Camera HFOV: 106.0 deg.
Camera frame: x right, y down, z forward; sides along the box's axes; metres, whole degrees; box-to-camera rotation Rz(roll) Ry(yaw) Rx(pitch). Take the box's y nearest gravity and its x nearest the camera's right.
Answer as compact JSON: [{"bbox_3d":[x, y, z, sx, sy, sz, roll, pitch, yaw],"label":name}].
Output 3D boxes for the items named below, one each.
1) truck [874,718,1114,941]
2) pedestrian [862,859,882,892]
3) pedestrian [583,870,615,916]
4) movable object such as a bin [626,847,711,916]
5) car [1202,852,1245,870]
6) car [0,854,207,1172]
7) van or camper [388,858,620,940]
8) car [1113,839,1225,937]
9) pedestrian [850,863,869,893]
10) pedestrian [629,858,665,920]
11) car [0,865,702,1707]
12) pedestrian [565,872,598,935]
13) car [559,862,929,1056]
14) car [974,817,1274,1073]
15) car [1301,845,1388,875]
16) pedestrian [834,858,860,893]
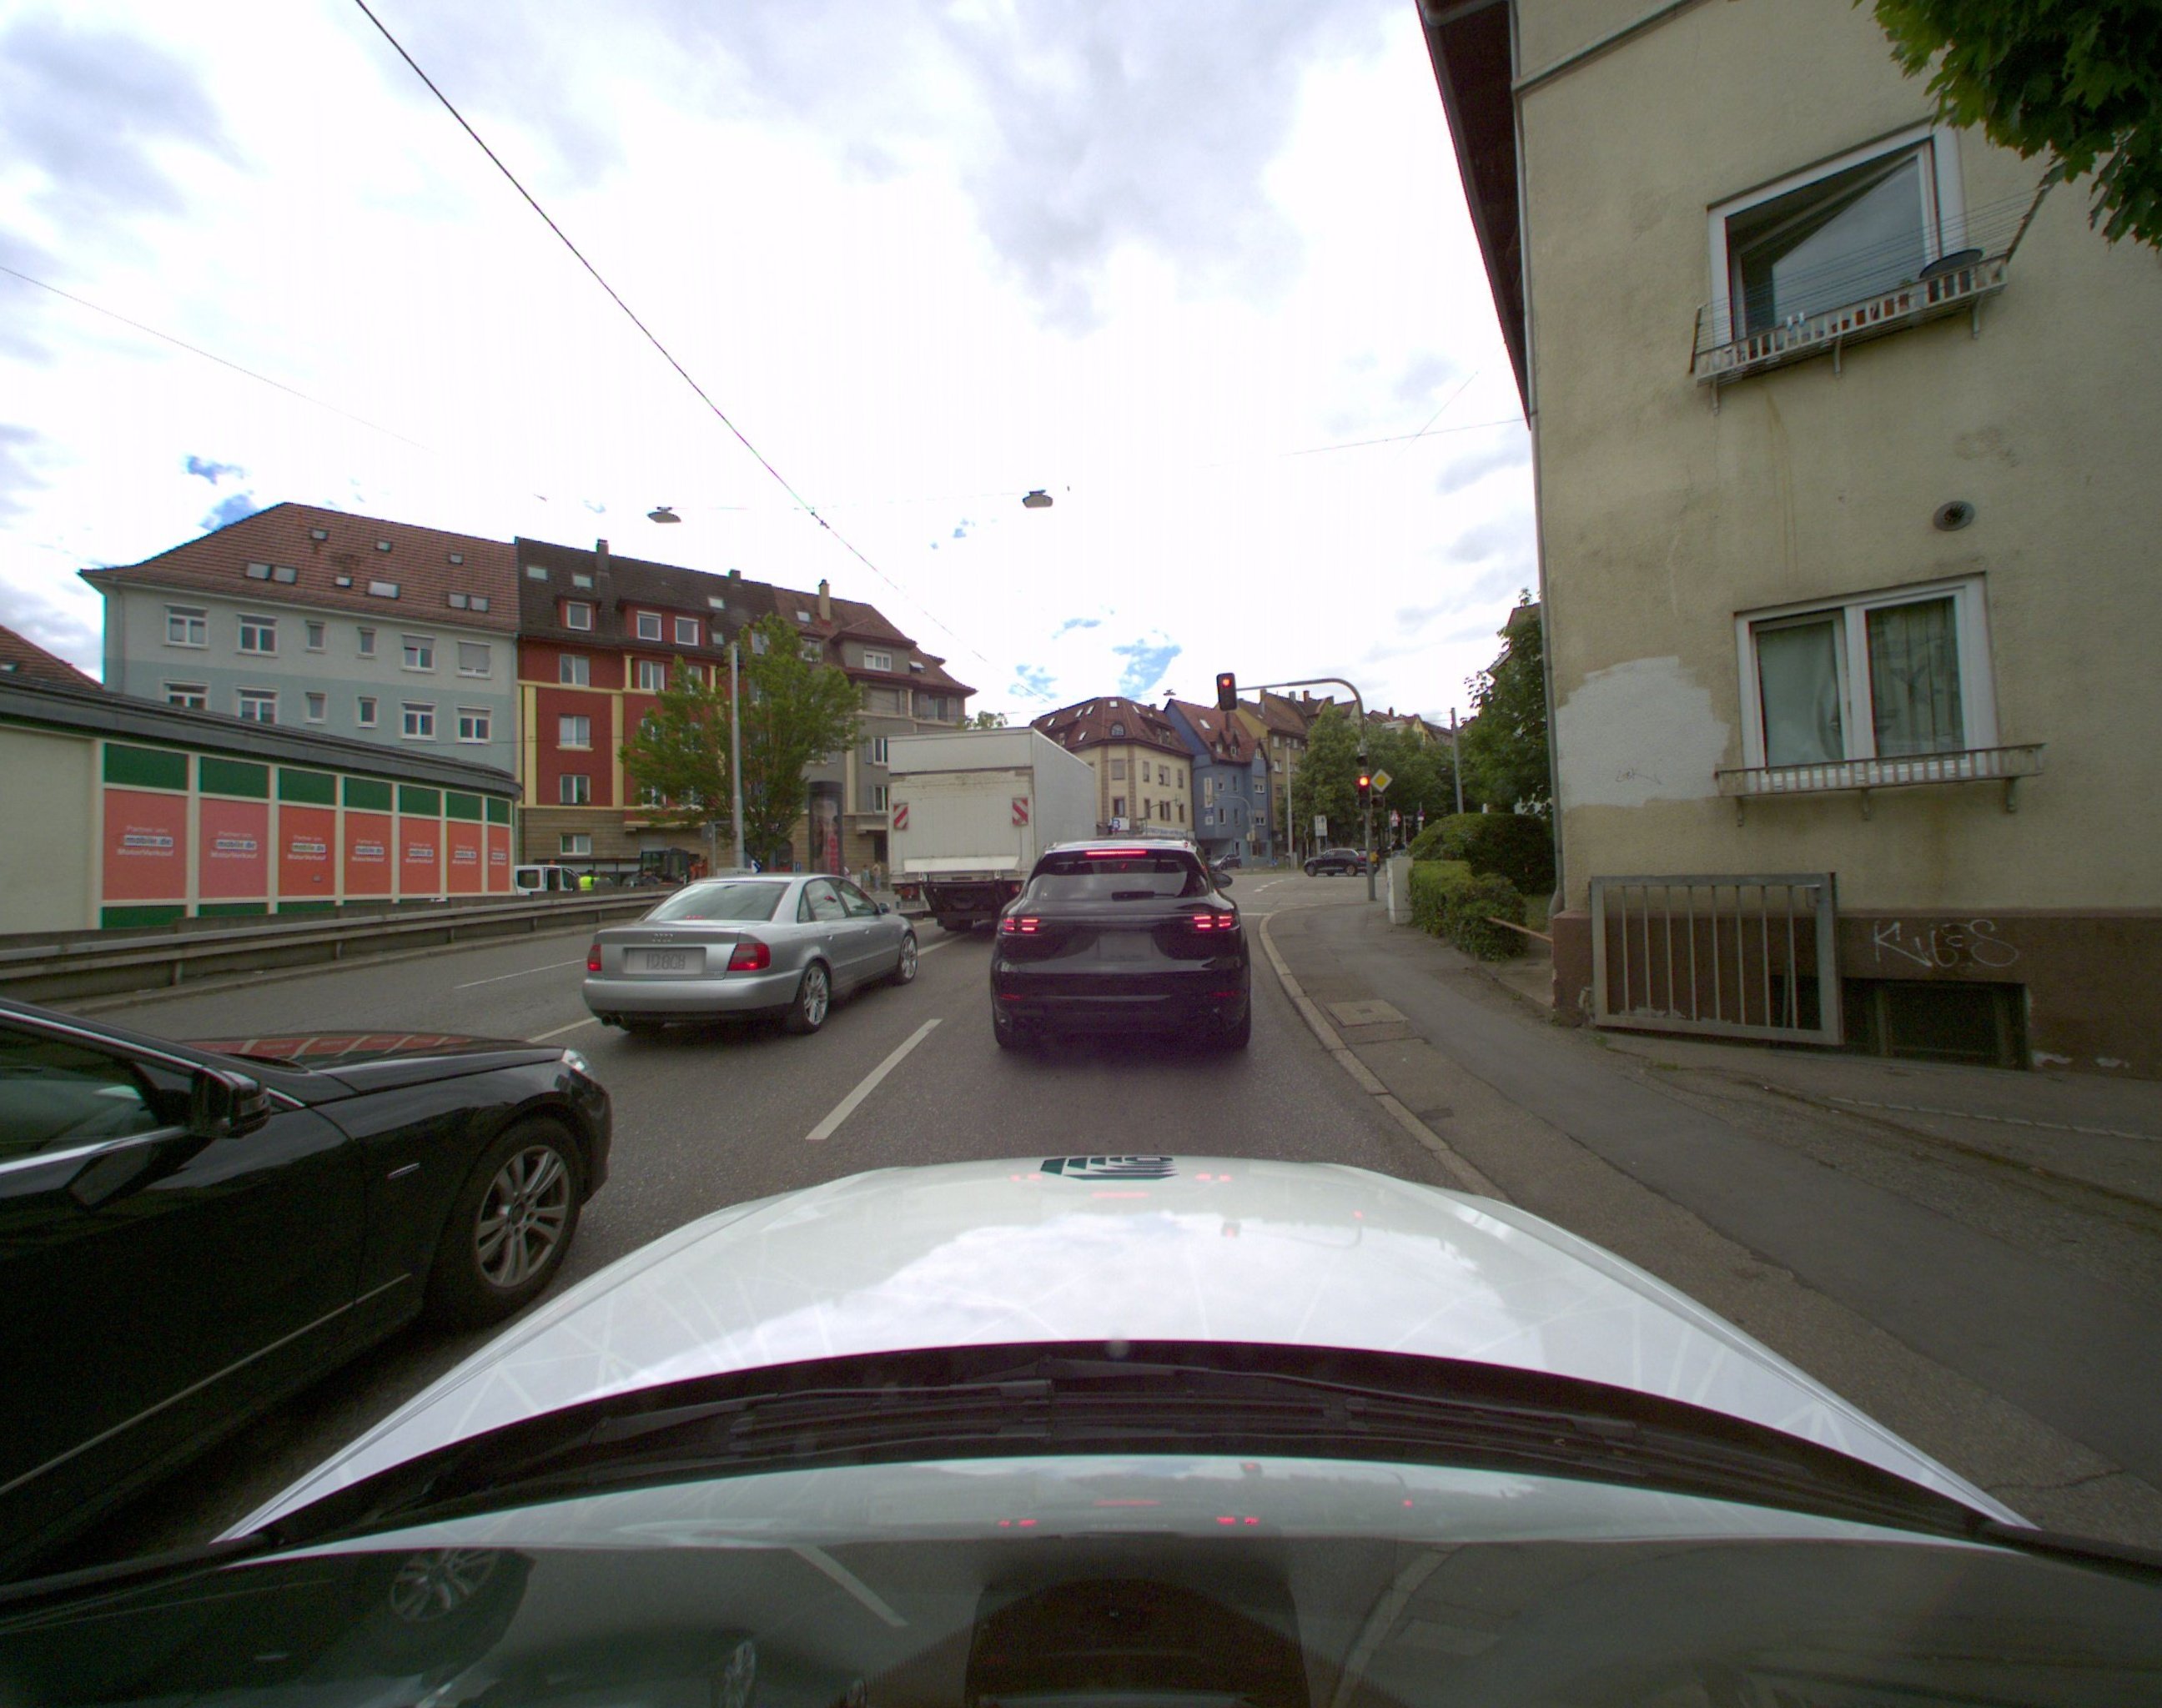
[{"bbox_3d":[-1.293,-0.392,17.510,2.708,3.544,8.446,-2,0,10],"label":"truck"},{"bbox_3d":[-9.724,0.986,37.853,0.517,1.487,0.658,-2,0,39],"label":"pedestrian"},{"bbox_3d":[-14.739,1.187,24.908,0.594,1.363,0.630,-2,0,35],"label":"pedestrian"},{"bbox_3d":[-13.149,0.842,26.149,1.375,2.013,3.524,-2,0,-10],"label":"movable object such as a bin"},{"bbox_3d":[12.442,0.598,70.998,1.700,1.477,4.244,-2,-3,42],"label":"car"},{"bbox_3d":[-6.088,0.802,2.761,1.765,1.521,4.083,-3,0,0],"label":"car"},{"bbox_3d":[-18.990,1.385,27.259,6.028,2.338,2.661,-1,0,-33],"label":"van or camper"},{"bbox_3d":[1.713,0.563,14.860,1.638,1.556,3.595,-1,-1,12],"label":"car"},{"bbox_3d":[-10.155,1.090,37.338,0.568,1.338,0.588,-2,0,31],"label":"pedestrian"},{"bbox_3d":[-11.962,0.946,22.466,0.690,1.637,0.774,-2,0,-19],"label":"pedestrian"},{"bbox_3d":[-2.874,0.807,1.412,1.986,1.429,4.844,-2,0,2],"label":"car"},{"bbox_3d":[-16.443,1.604,26.797,0.830,2.013,0.672,-1,0,-39],"label":"pedestrian"},{"bbox_3d":[-2.953,0.825,8.228,1.620,1.365,4.135,-2,0,6],"label":"car"},{"bbox_3d":[0.362,0.629,7.778,2.024,1.723,4.502,0,0,2],"label":"car"},{"bbox_3d":[13.810,0.291,42.839,2.008,1.530,3.957,0,0,-35],"label":"car"},{"bbox_3d":[-10.589,0.956,36.800,0.785,1.546,0.743,-2,0,28],"label":"pedestrian"}]
